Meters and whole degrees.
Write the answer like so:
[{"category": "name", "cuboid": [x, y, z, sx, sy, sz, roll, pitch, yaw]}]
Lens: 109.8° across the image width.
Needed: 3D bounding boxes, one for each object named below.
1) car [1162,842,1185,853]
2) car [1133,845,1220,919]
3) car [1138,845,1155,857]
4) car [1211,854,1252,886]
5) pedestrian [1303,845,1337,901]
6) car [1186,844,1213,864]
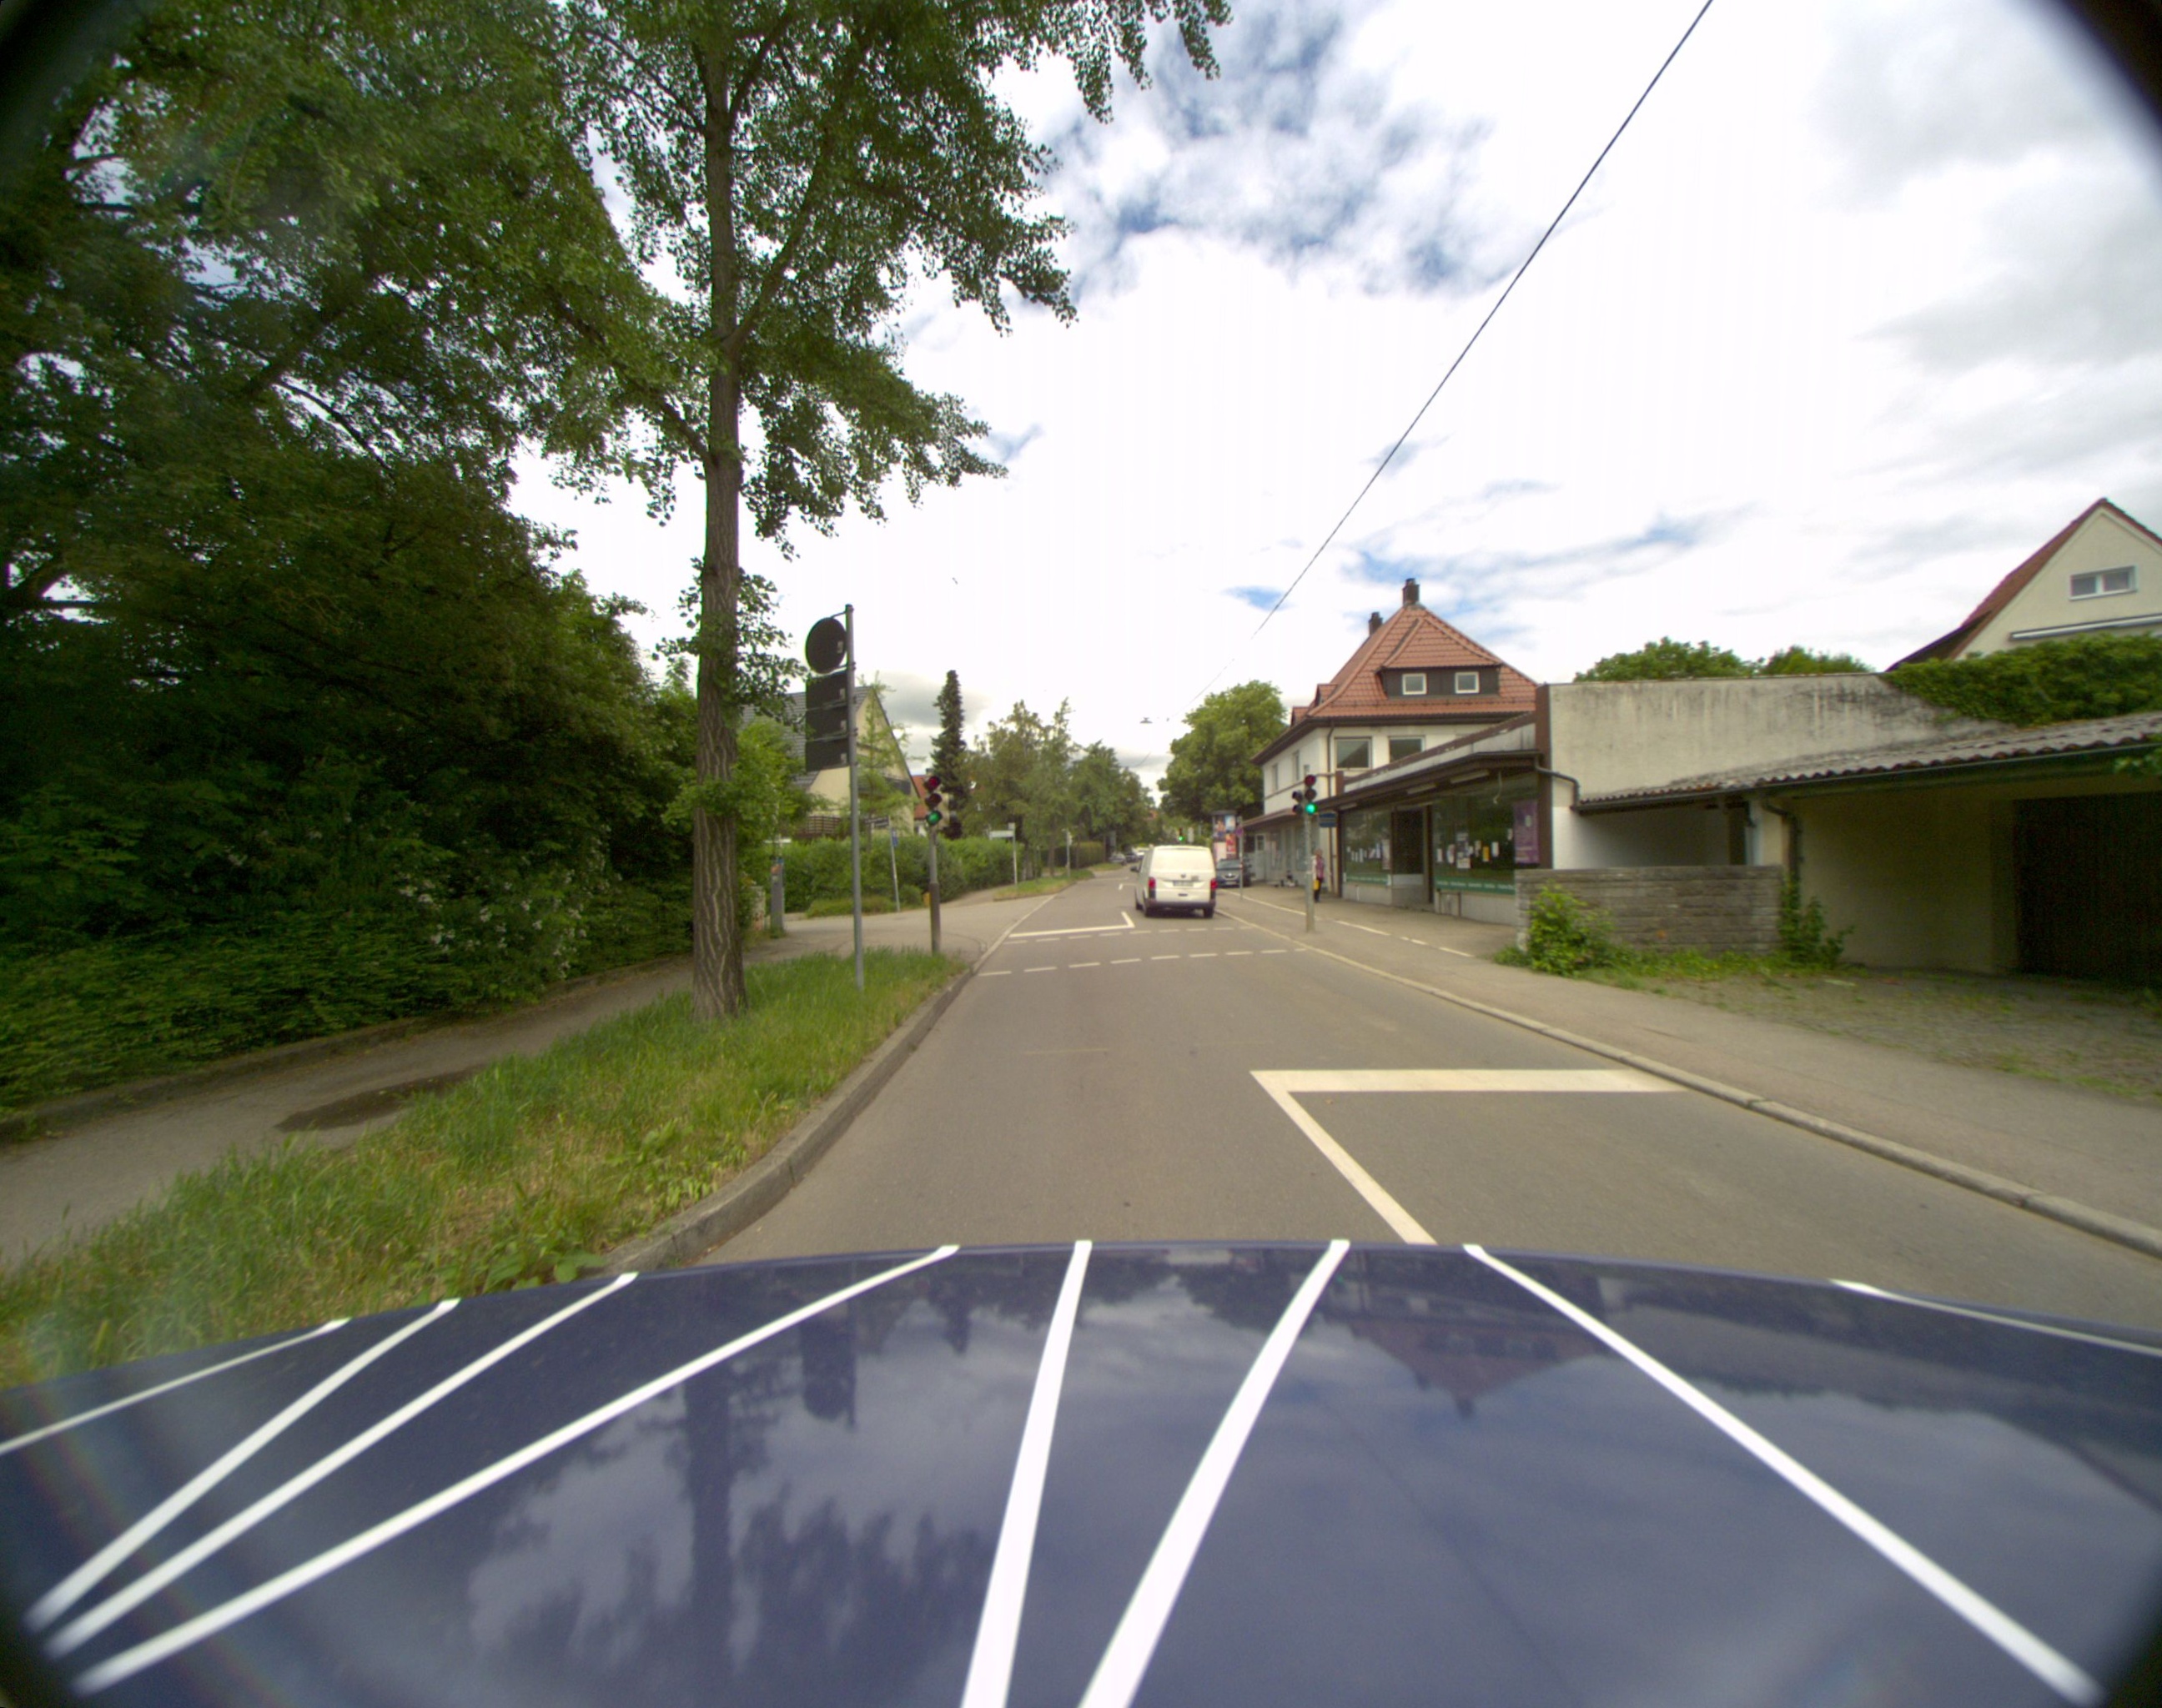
[{"category": "car", "cuboid": [16.754, -1.134, 137.539, 3.993, 1.729, 2.002, -3, 1, 13]}, {"category": "car", "cuboid": [2.630, 0.702, 22.059, 1.885, 1.905, 4.832, 0, 1, 0]}, {"category": "car", "cuboid": [9.549, -0.468, 111.468, 1.999, 1.687, 3.999, -3, 1, 0]}, {"category": "car", "cuboid": [7.418, 0.748, 37.504, 1.822, 1.344, 3.394, -3, 1, 10]}, {"category": "pedestrian", "cuboid": [7.748, 0.608, 24.650, 0.822, 1.734, 0.604, -3, 1, 1]}, {"category": "car", "cuboid": [11.102, -0.007, 71.423, 1.771, 1.668, 3.999, -3, 1, 0]}]
